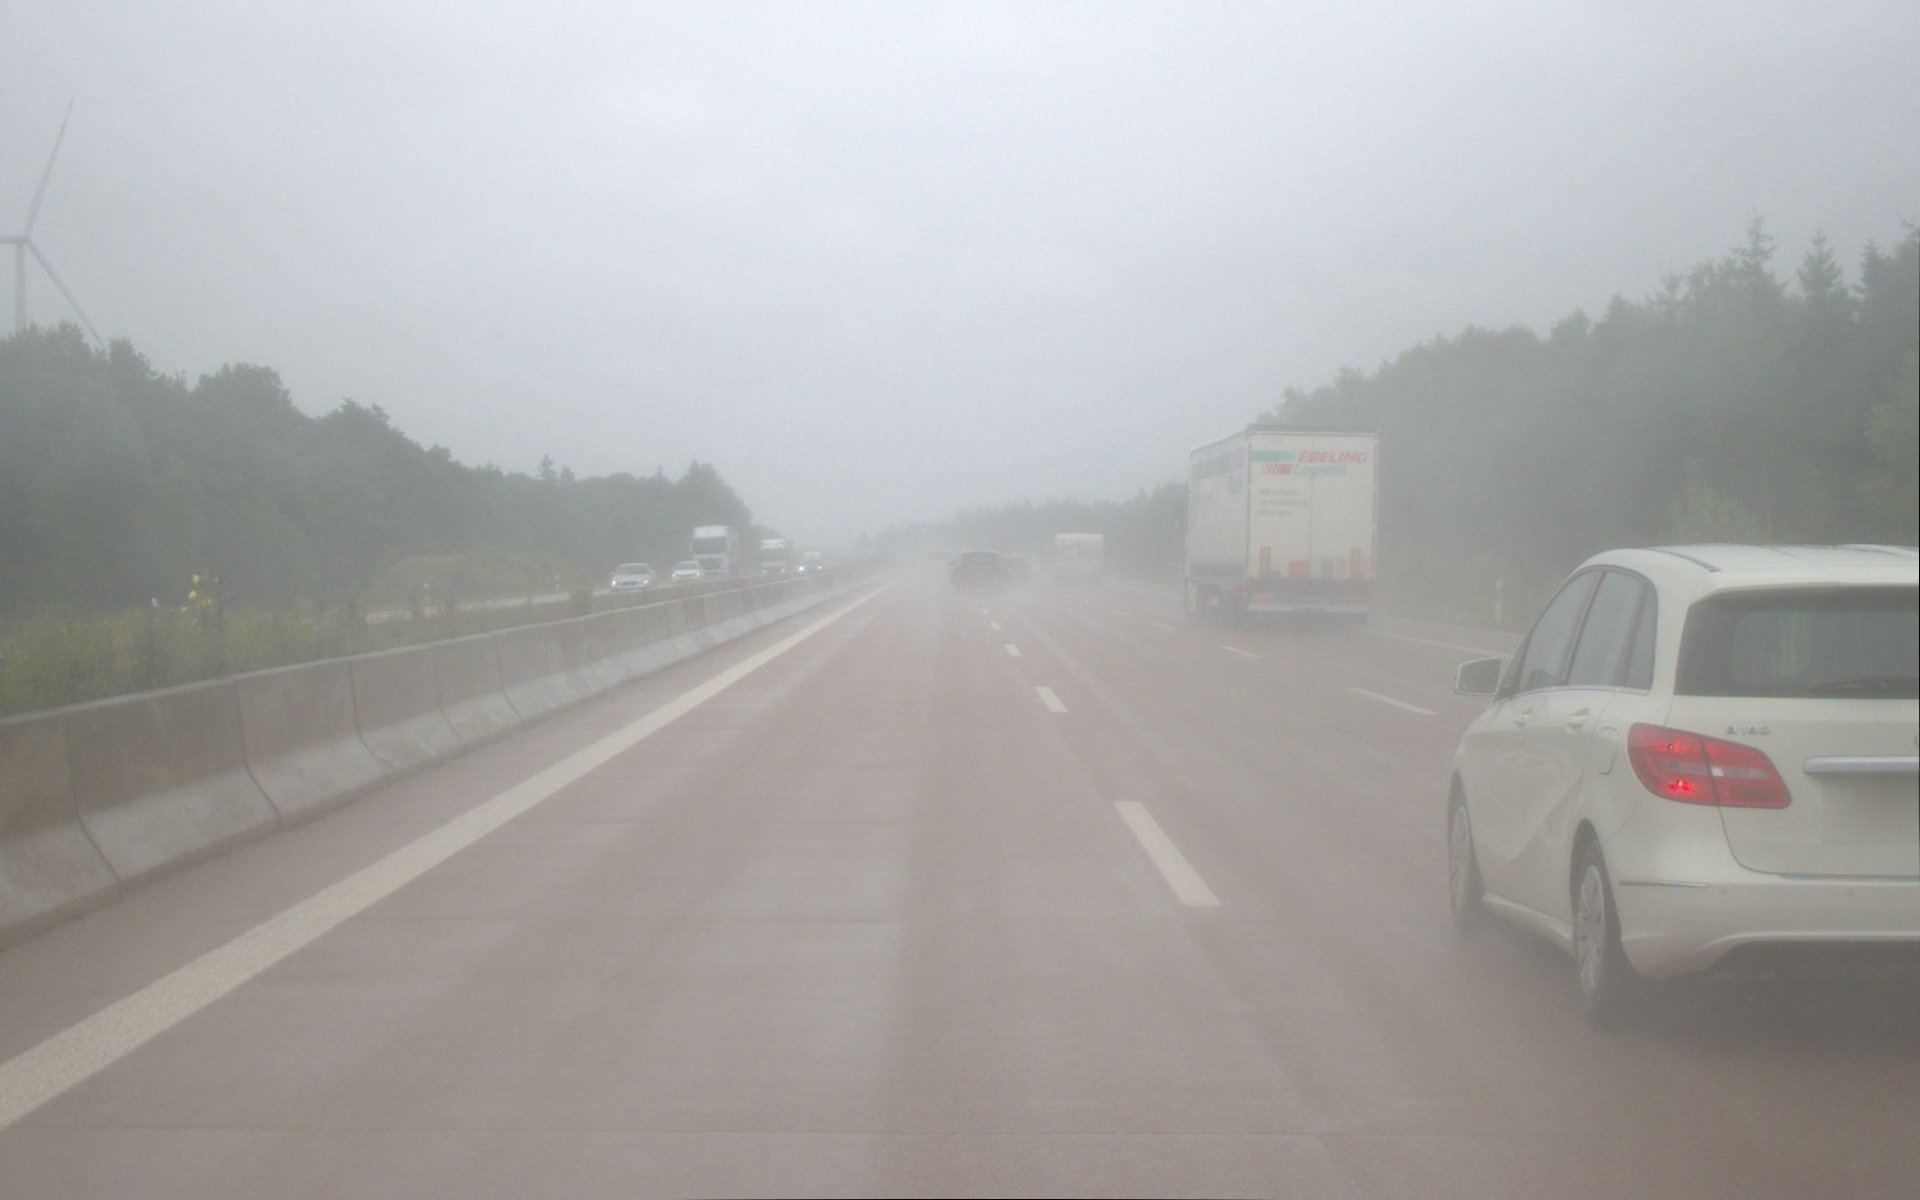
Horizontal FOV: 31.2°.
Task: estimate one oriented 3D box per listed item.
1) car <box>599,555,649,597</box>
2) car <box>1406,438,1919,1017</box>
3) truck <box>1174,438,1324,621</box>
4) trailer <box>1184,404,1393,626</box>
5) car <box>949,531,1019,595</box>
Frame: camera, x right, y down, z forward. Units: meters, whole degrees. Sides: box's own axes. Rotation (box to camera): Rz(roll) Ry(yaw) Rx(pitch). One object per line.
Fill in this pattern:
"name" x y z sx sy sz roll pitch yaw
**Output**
"car" -14.308 -1.036 146.475 1.808 1.626 4.506 3 1 -2
"car" 2.909 0.359 12.694 1.808 1.722 4.744 1 1 -1
"truck" 6.670 -1.650 80.198 2.880 4.092 6.350 0 1 -1
"trailer" 6.764 -1.788 72.908 2.852 4.217 13.133 -1 1 -1
"car" 0.772 -1.233 113.168 2.173 1.974 4.130 3 1 0
